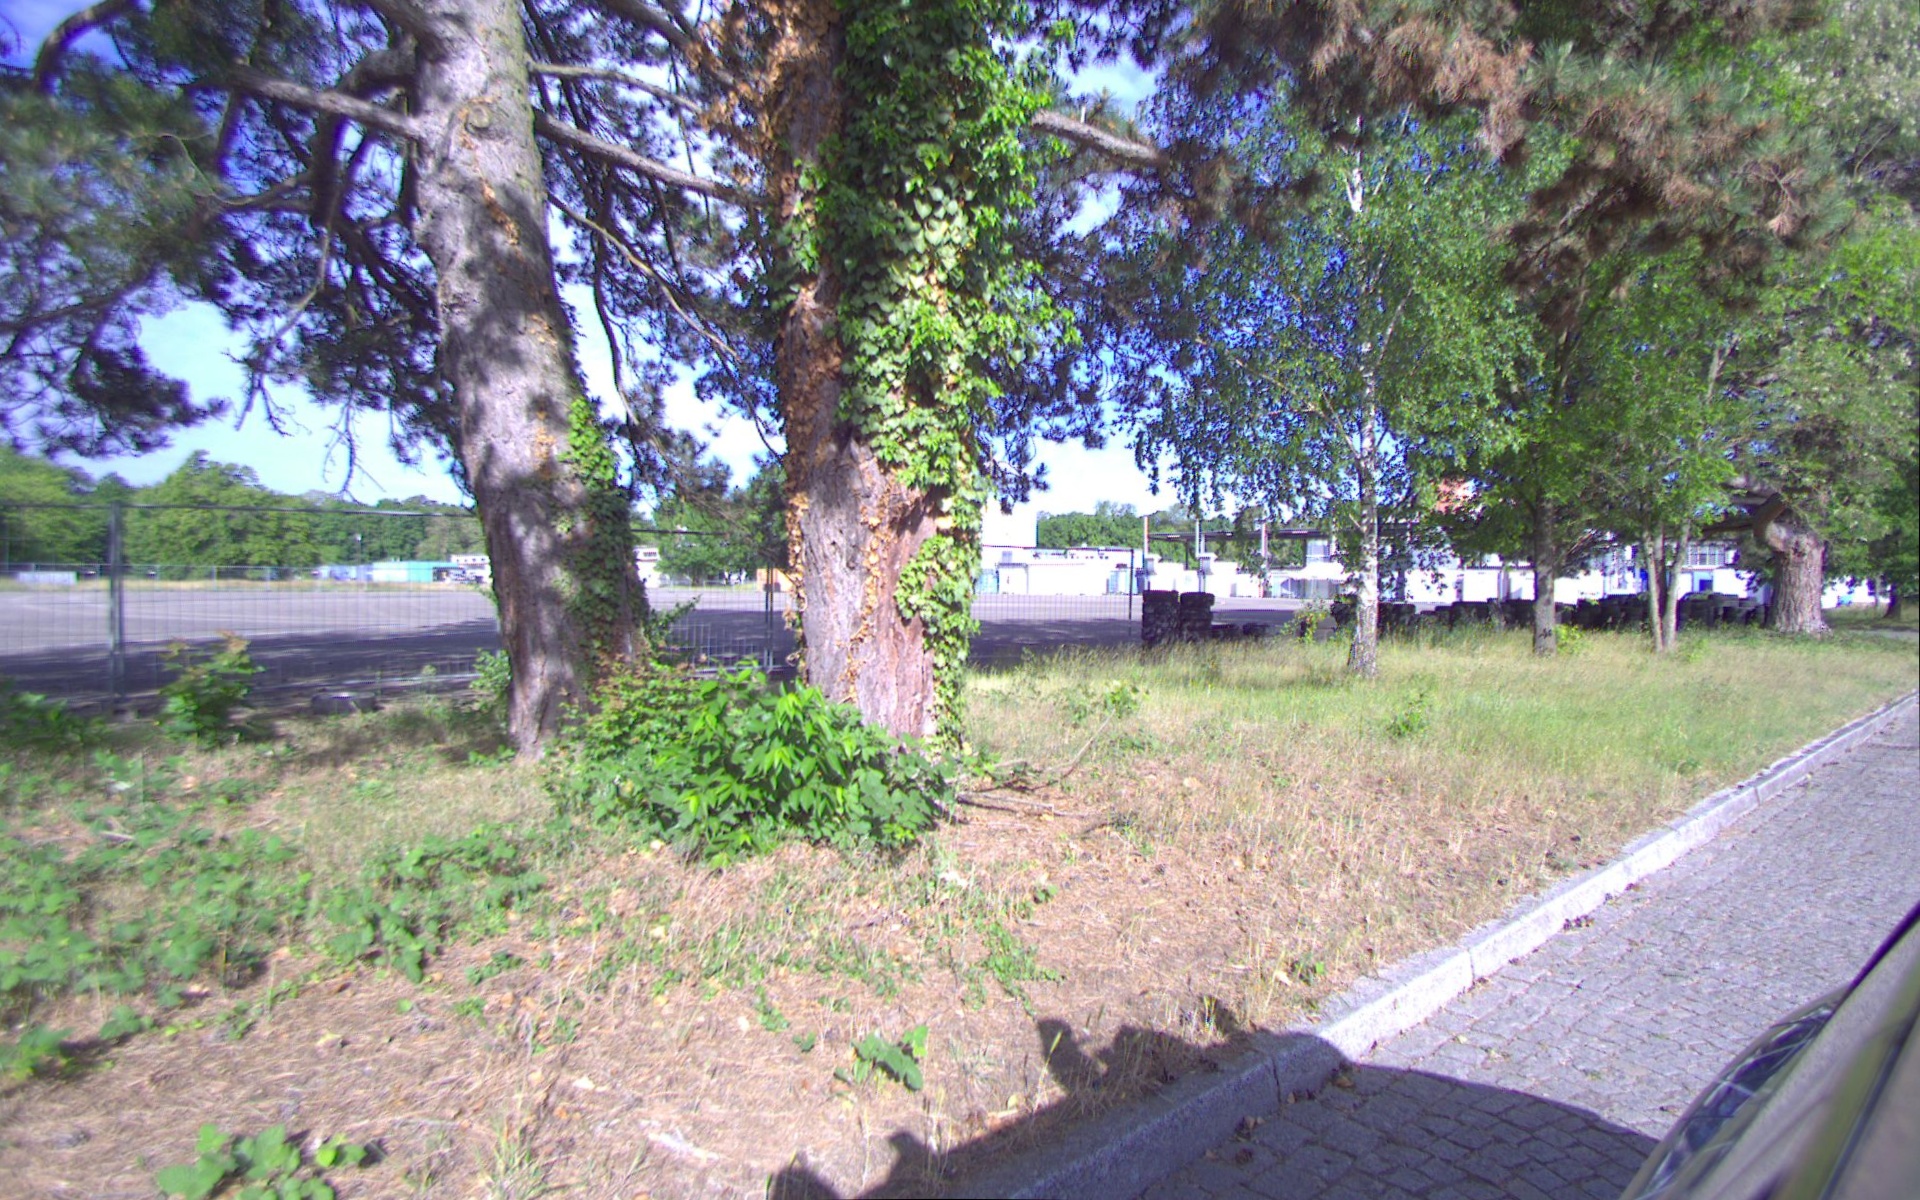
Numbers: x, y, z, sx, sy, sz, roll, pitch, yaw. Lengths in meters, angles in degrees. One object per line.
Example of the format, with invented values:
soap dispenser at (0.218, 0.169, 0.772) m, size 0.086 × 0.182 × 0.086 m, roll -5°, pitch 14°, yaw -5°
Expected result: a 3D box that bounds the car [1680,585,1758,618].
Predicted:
car at (35.559, 0.055, 47.400) m, size 3.924 × 1.467 × 1.848 m, roll 0°, pitch 1°, yaw -36°
